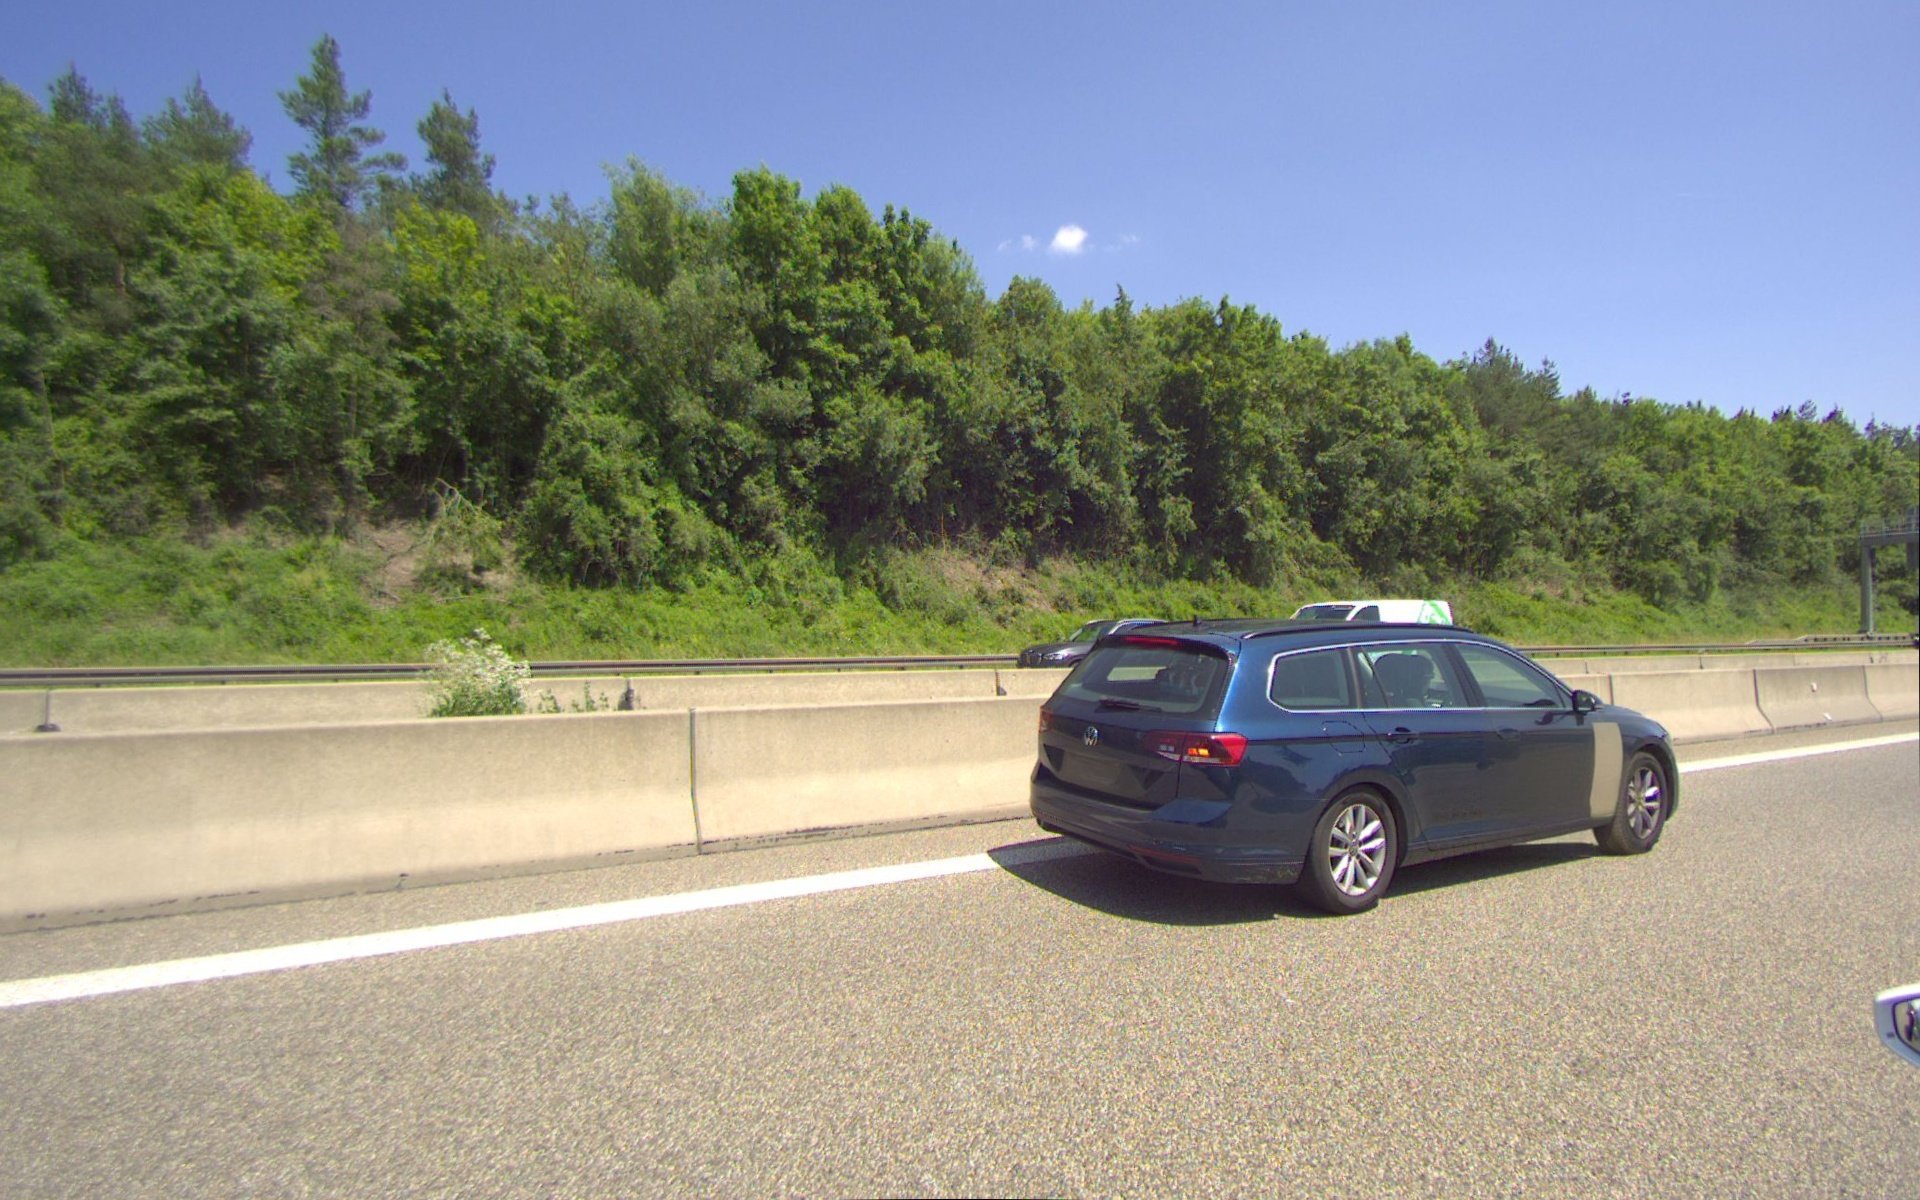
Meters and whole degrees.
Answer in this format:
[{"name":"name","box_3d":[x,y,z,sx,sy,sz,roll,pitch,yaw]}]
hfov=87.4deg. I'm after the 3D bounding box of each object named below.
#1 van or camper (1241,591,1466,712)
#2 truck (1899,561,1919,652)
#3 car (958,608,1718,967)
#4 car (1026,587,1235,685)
[{"name":"van or camper","box_3d":[8.654,1.180,22.018,4.751,2.415,1.986,2,-6,-30]},{"name":"truck","box_3d":[51.507,0.455,51.425,7.430,4.541,2.935,2,0,-30]},{"name":"car","box_3d":[2.453,0.844,6.167,4.623,1.469,1.865,2,0,-30]},{"name":"car","box_3d":[3.938,0.801,22.994,4.430,2.040,2.101,2,0,-33]}]
